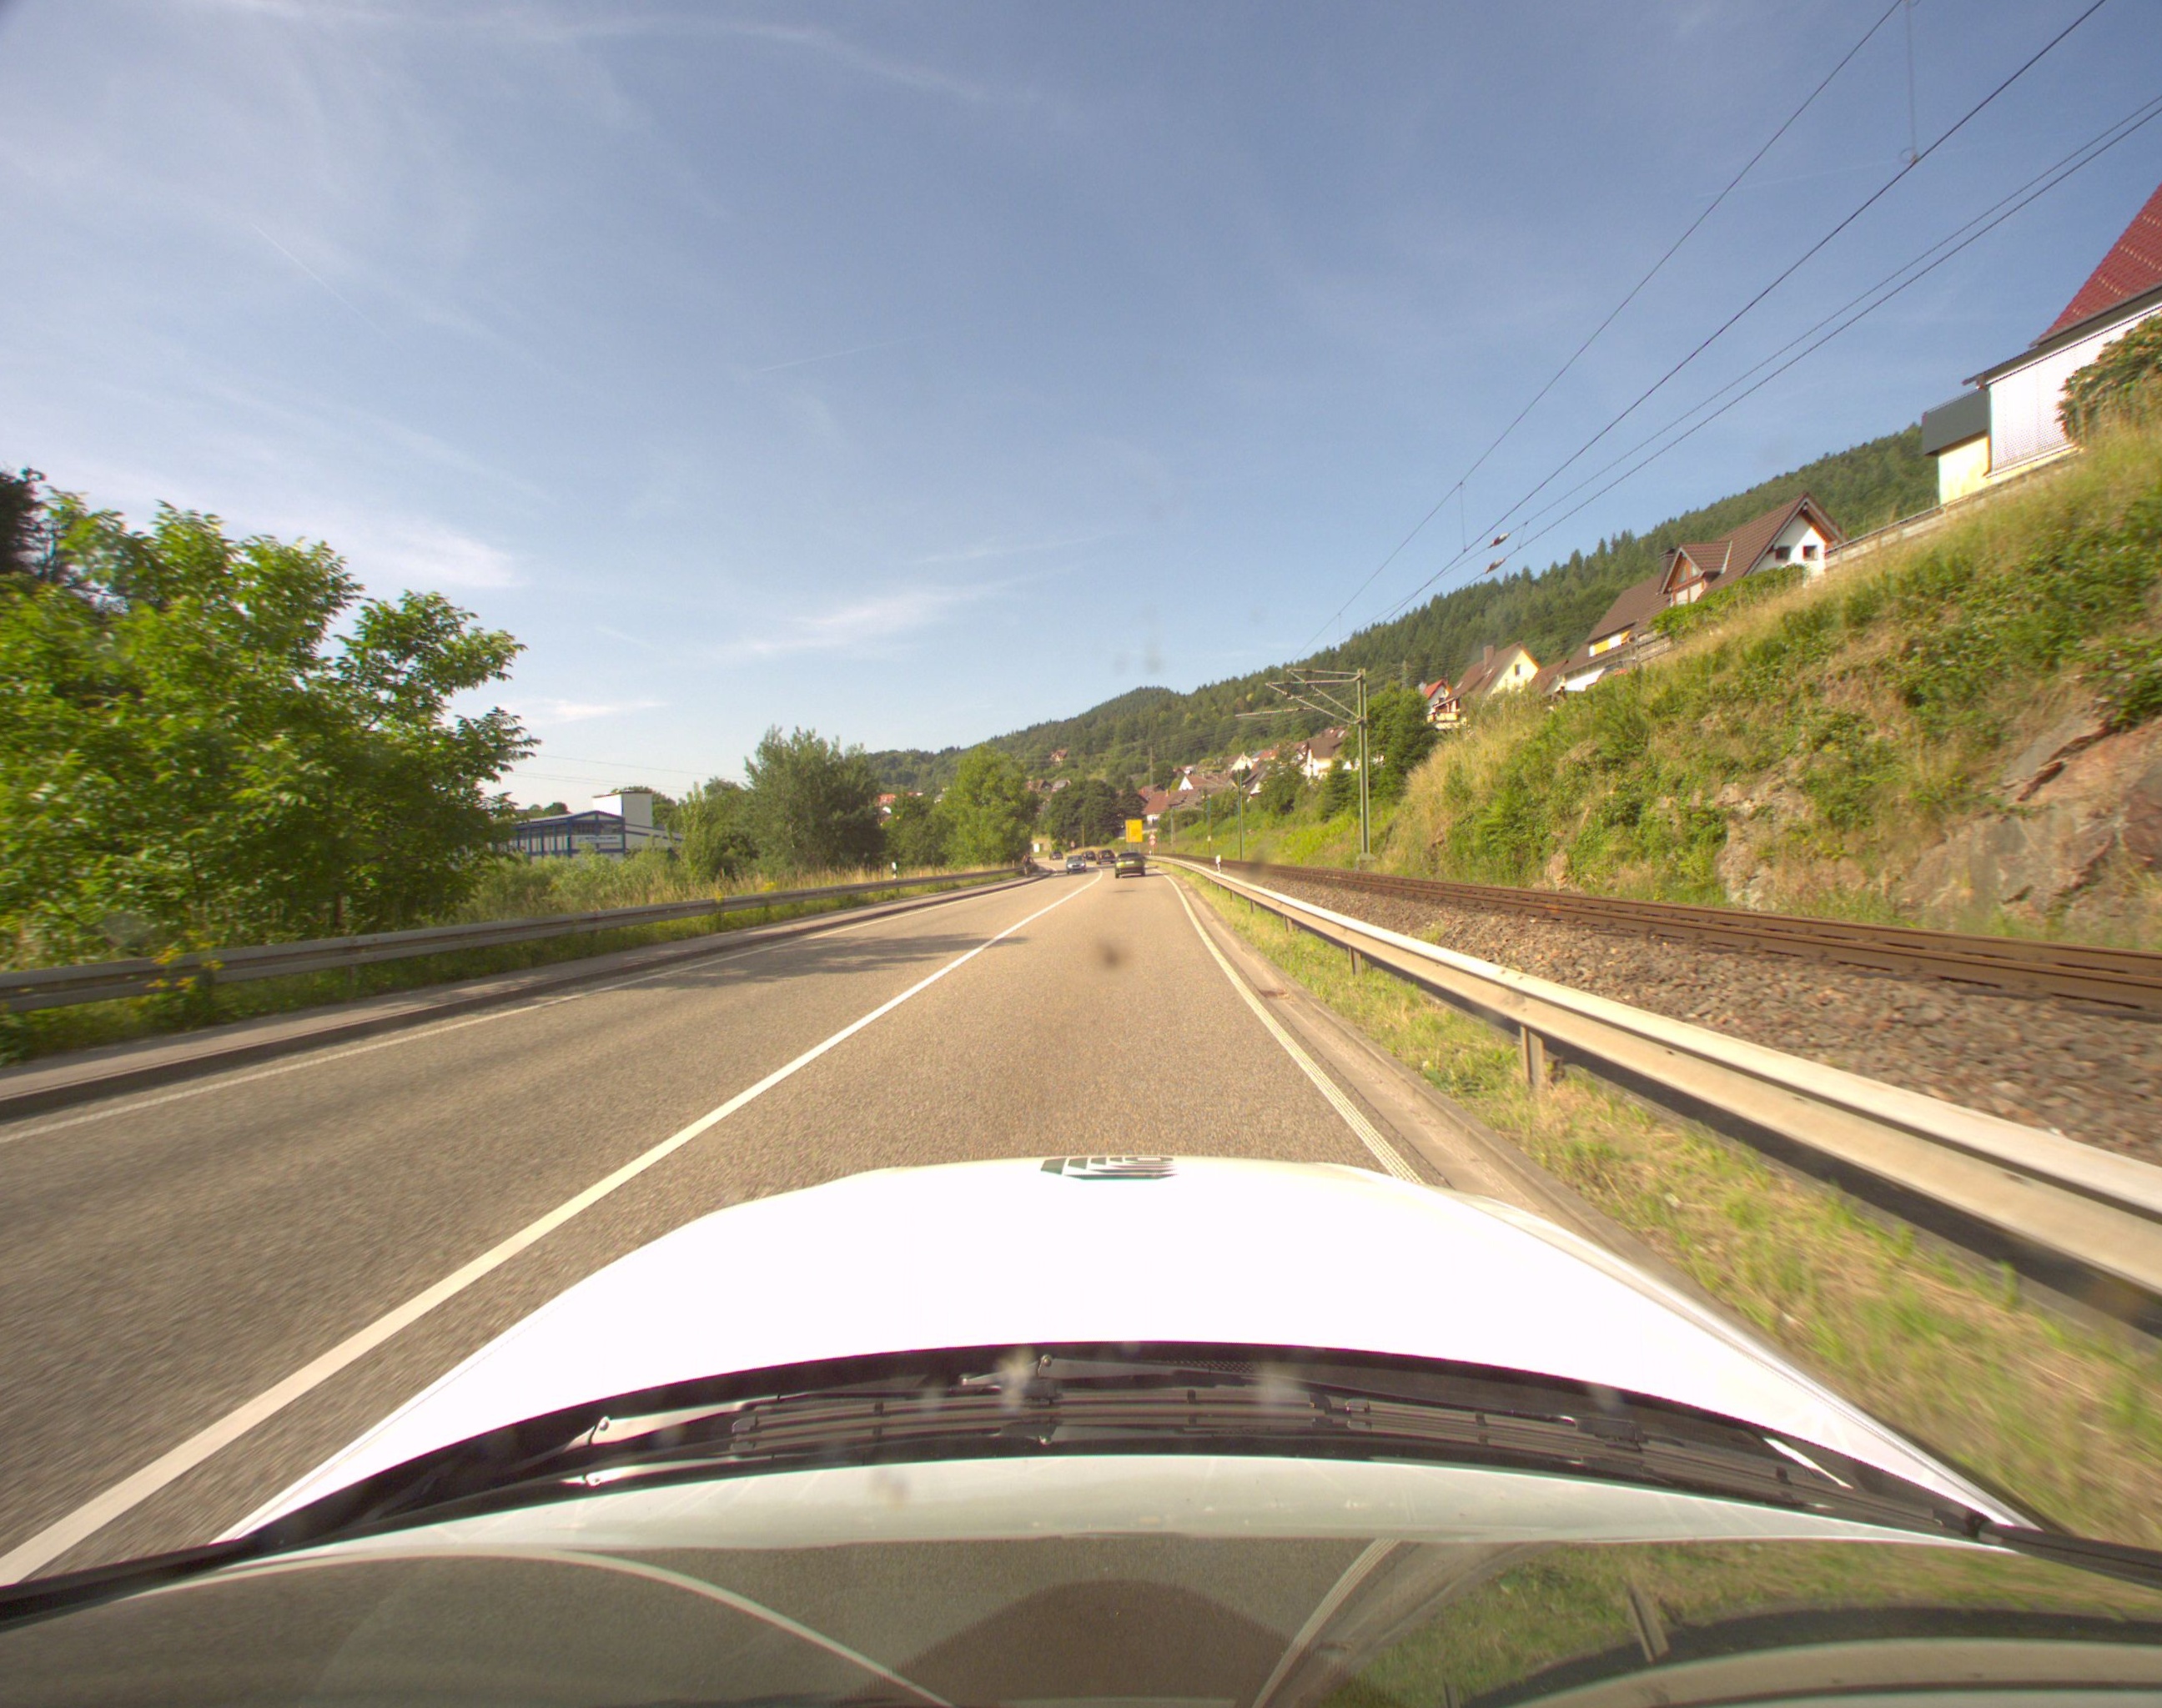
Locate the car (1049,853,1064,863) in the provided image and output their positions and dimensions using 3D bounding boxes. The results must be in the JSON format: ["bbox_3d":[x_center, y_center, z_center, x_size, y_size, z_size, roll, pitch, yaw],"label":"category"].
[{"bbox_3d":[-4.435,0.656,145.912,2.065,1.811,3.982,0,0,-13],"label":"car"}]

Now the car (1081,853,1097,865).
[{"bbox_3d":[1.075,0.657,112.413,1.846,1.527,3.656,0,0,-5],"label":"car"}]

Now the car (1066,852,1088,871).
[{"bbox_3d":[-0.298,0.588,67.740,1.571,1.479,4.004,0,0,3],"label":"car"}]

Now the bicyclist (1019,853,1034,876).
[{"bbox_3d":[-3.686,0.707,55.367,0.552,1.586,1.042,0,0,27],"label":"bicyclist"}]

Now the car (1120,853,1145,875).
[{"bbox_3d":[3.851,0.757,61.677,1.662,1.559,3.999,-1,0,0],"label":"car"}]

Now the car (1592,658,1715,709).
[{"bbox_3d":[22.709,-6.744,32.361,3.732,1.540,1.750,0,-2,-4],"label":"car"}]

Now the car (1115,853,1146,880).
[{"bbox_3d":[2.861,0.686,47.475,1.708,1.455,4.003,-2,0,3],"label":"car"}]

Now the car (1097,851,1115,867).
[{"bbox_3d":[2.786,0.548,91.016,1.874,1.686,3.998,0,0,-1],"label":"car"}]

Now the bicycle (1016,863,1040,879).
[{"bbox_3d":[-3.628,1.155,55.508,0.552,1.045,2.243,0,1,27],"label":"bicycle"}]

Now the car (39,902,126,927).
[{"bbox_3d":[-78.407,4.732,64.036,1.865,1.666,3.997,0,-1,-2],"label":"car"}]
